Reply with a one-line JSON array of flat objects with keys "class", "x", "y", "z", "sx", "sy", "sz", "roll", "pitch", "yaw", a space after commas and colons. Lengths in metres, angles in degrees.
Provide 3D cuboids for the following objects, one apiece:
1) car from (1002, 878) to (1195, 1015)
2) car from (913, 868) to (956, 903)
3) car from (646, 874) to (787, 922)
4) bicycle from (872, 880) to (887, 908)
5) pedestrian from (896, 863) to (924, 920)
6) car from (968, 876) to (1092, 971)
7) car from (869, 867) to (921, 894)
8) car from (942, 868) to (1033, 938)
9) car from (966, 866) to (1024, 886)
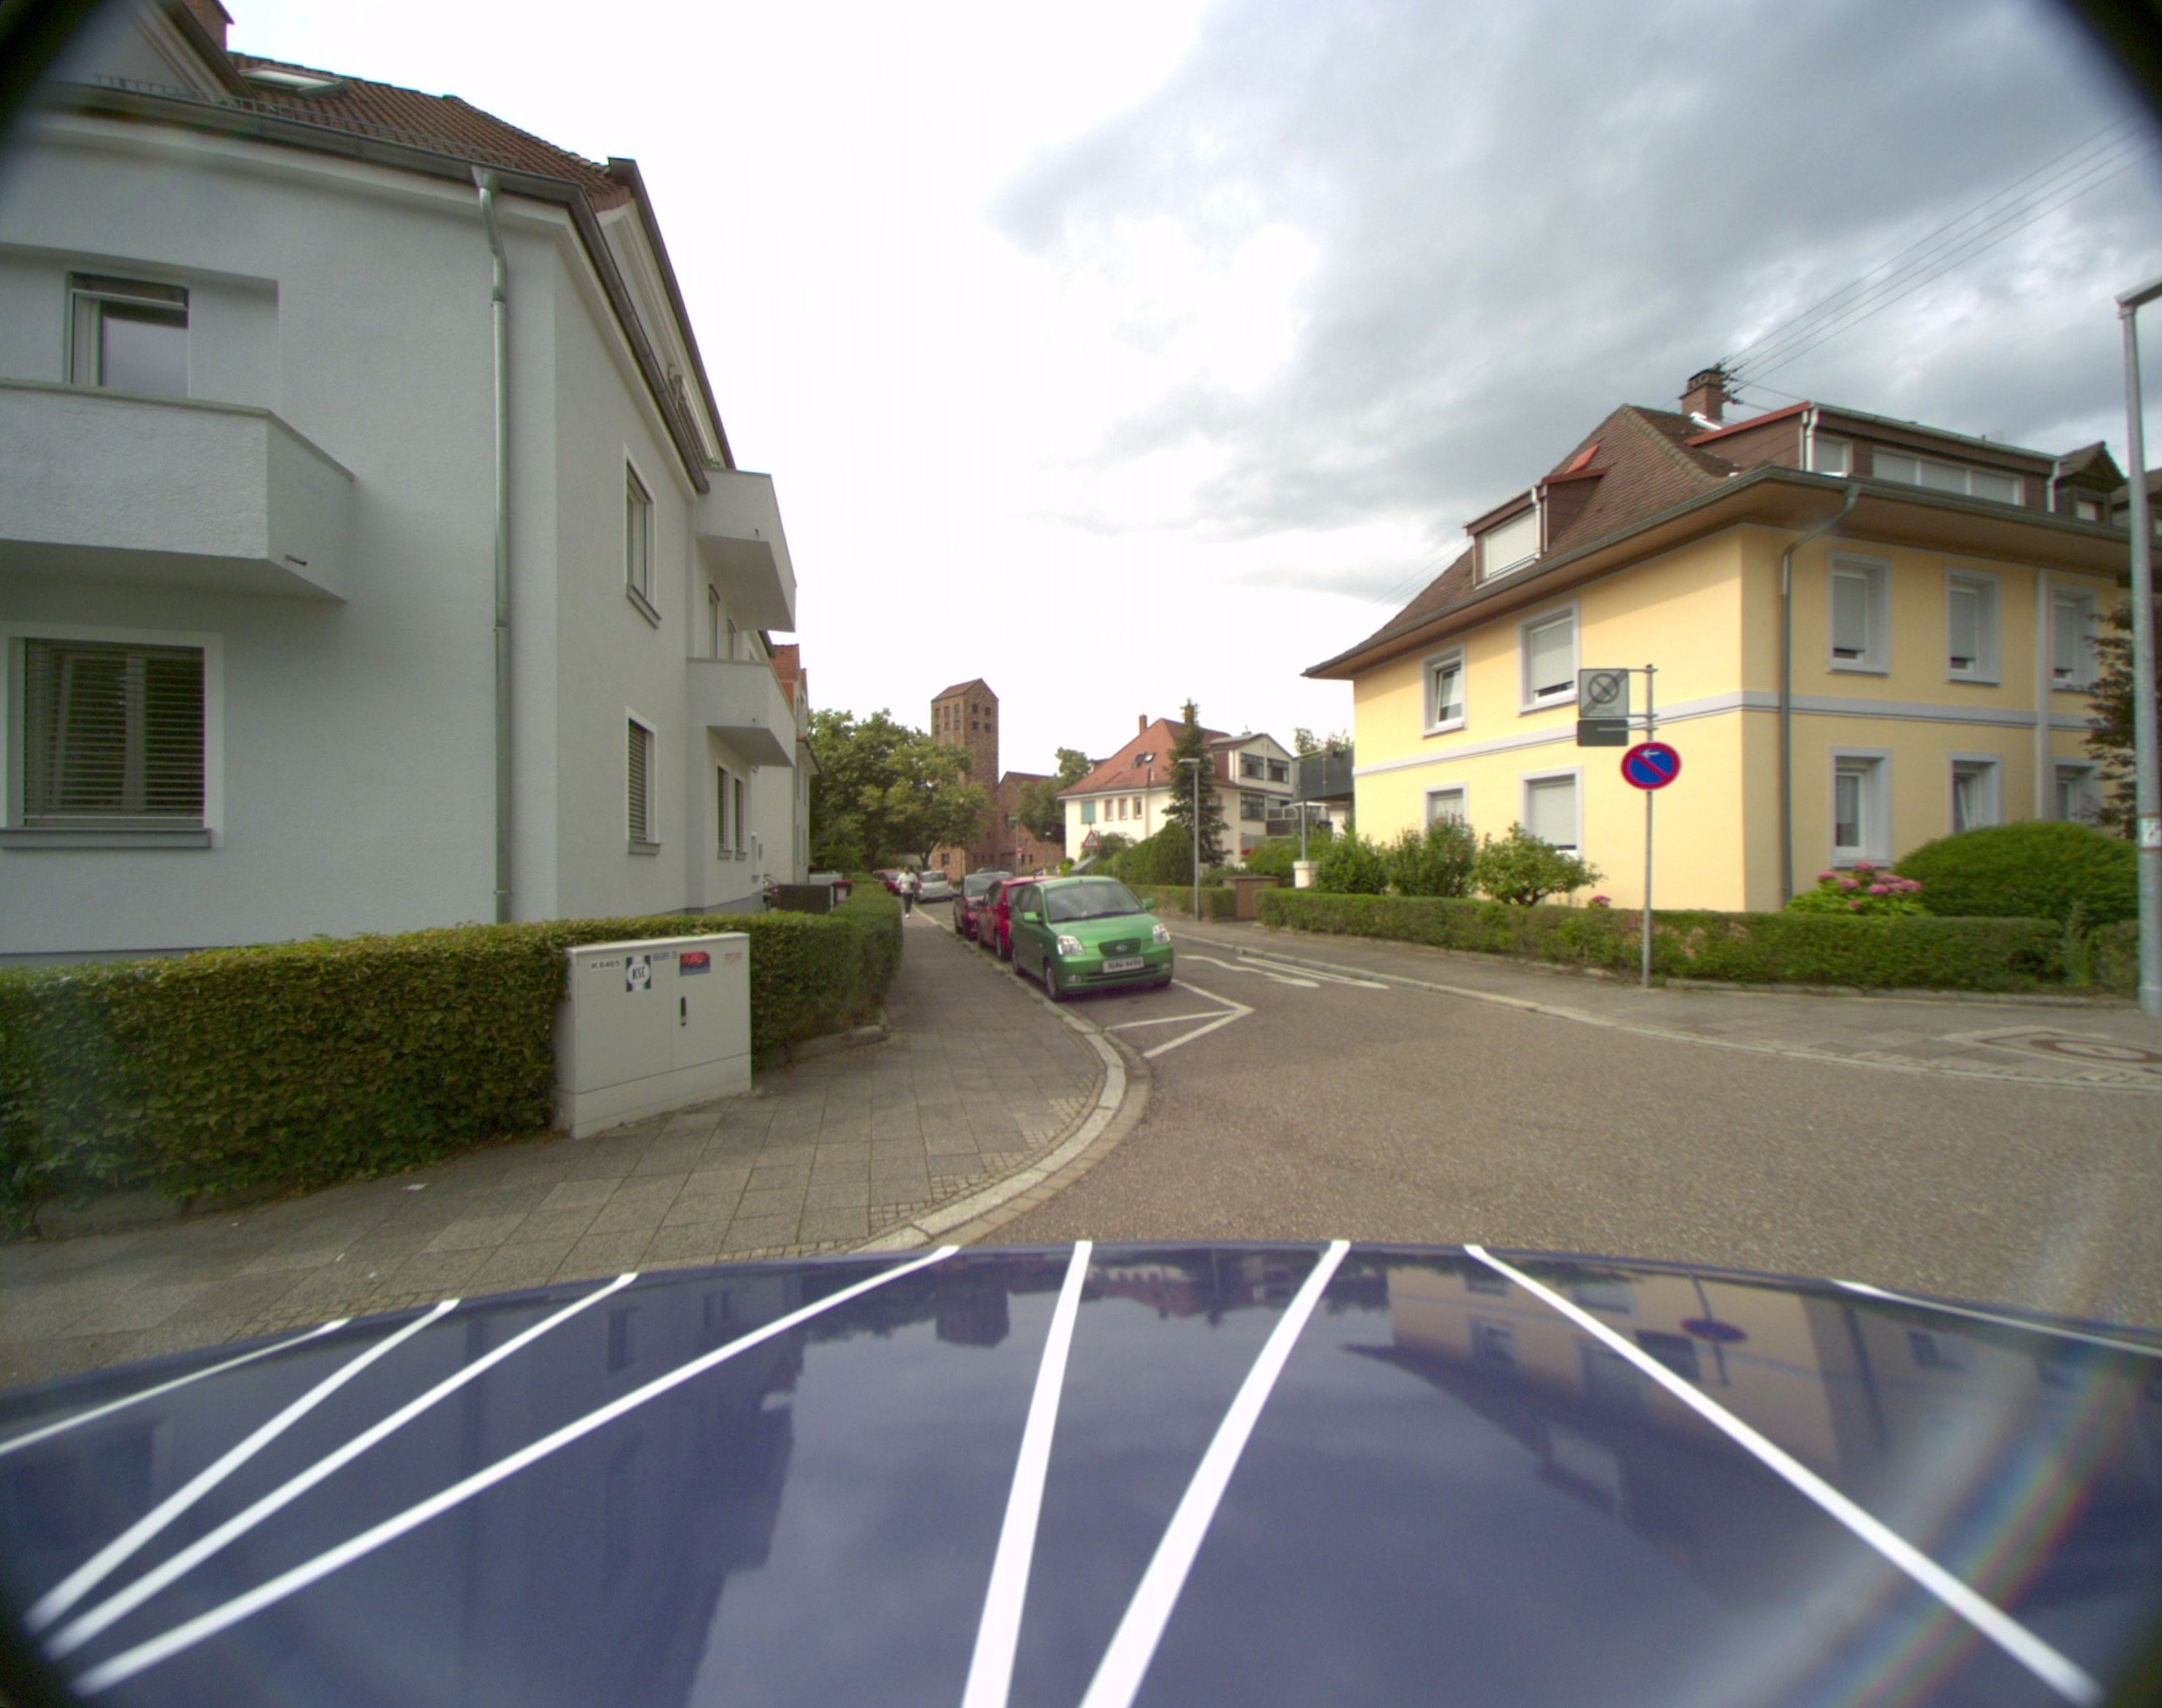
[{"class": "car", "x": 0.063, "y": 1.123, "z": 10.660, "sx": 1.652, "sy": 1.413, "sz": 3.477, "roll": -4, "pitch": 0, "yaw": -16}, {"class": "car", "x": -7.186, "y": 1.482, "z": 37.020, "sx": 1.652, "sy": 1.487, "sz": 3.477, "roll": -4, "pitch": 0, "yaw": -16}, {"class": "car", "x": -12.228, "y": 1.459, "z": 25.797, "sx": 4.002, "sy": 1.455, "sz": 1.998, "roll": 0, "pitch": -1, "yaw": -15}, {"class": "bicycle", "x": -8.763, "y": 1.723, "z": 33.003, "sx": 0.423, "sy": 1.097, "sz": 2.112, "roll": 0, "pitch": 0, "yaw": -20}, {"class": "pedestrian", "x": -5.816, "y": 1.258, "z": 25.834, "sx": 0.884, "sy": 1.867, "sz": 1.077, "roll": -1, "pitch": 0, "yaw": -15}, {"class": "car", "x": -1.128, "y": 1.271, "z": 15.098, "sx": 1.652, "sy": 1.487, "sz": 3.477, "roll": -4, "pitch": 0, "yaw": -16}, {"class": "car", "x": -11.252, "y": 1.606, "z": 45.735, "sx": 1.654, "sy": 1.487, "sz": 3.473, "roll": -4, "pitch": 1, "yaw": -38}, {"class": "car", "x": -2.453, "y": 1.149, "z": 19.227, "sx": 1.652, "sy": 1.487, "sz": 3.477, "roll": -4, "pitch": 0, "yaw": -16}, {"class": "car", "x": -6.714, "y": 1.666, "z": 59.336, "sx": 4.230, "sy": 1.456, "sz": 1.681, "roll": 0, "pitch": 1, "yaw": -16}]
